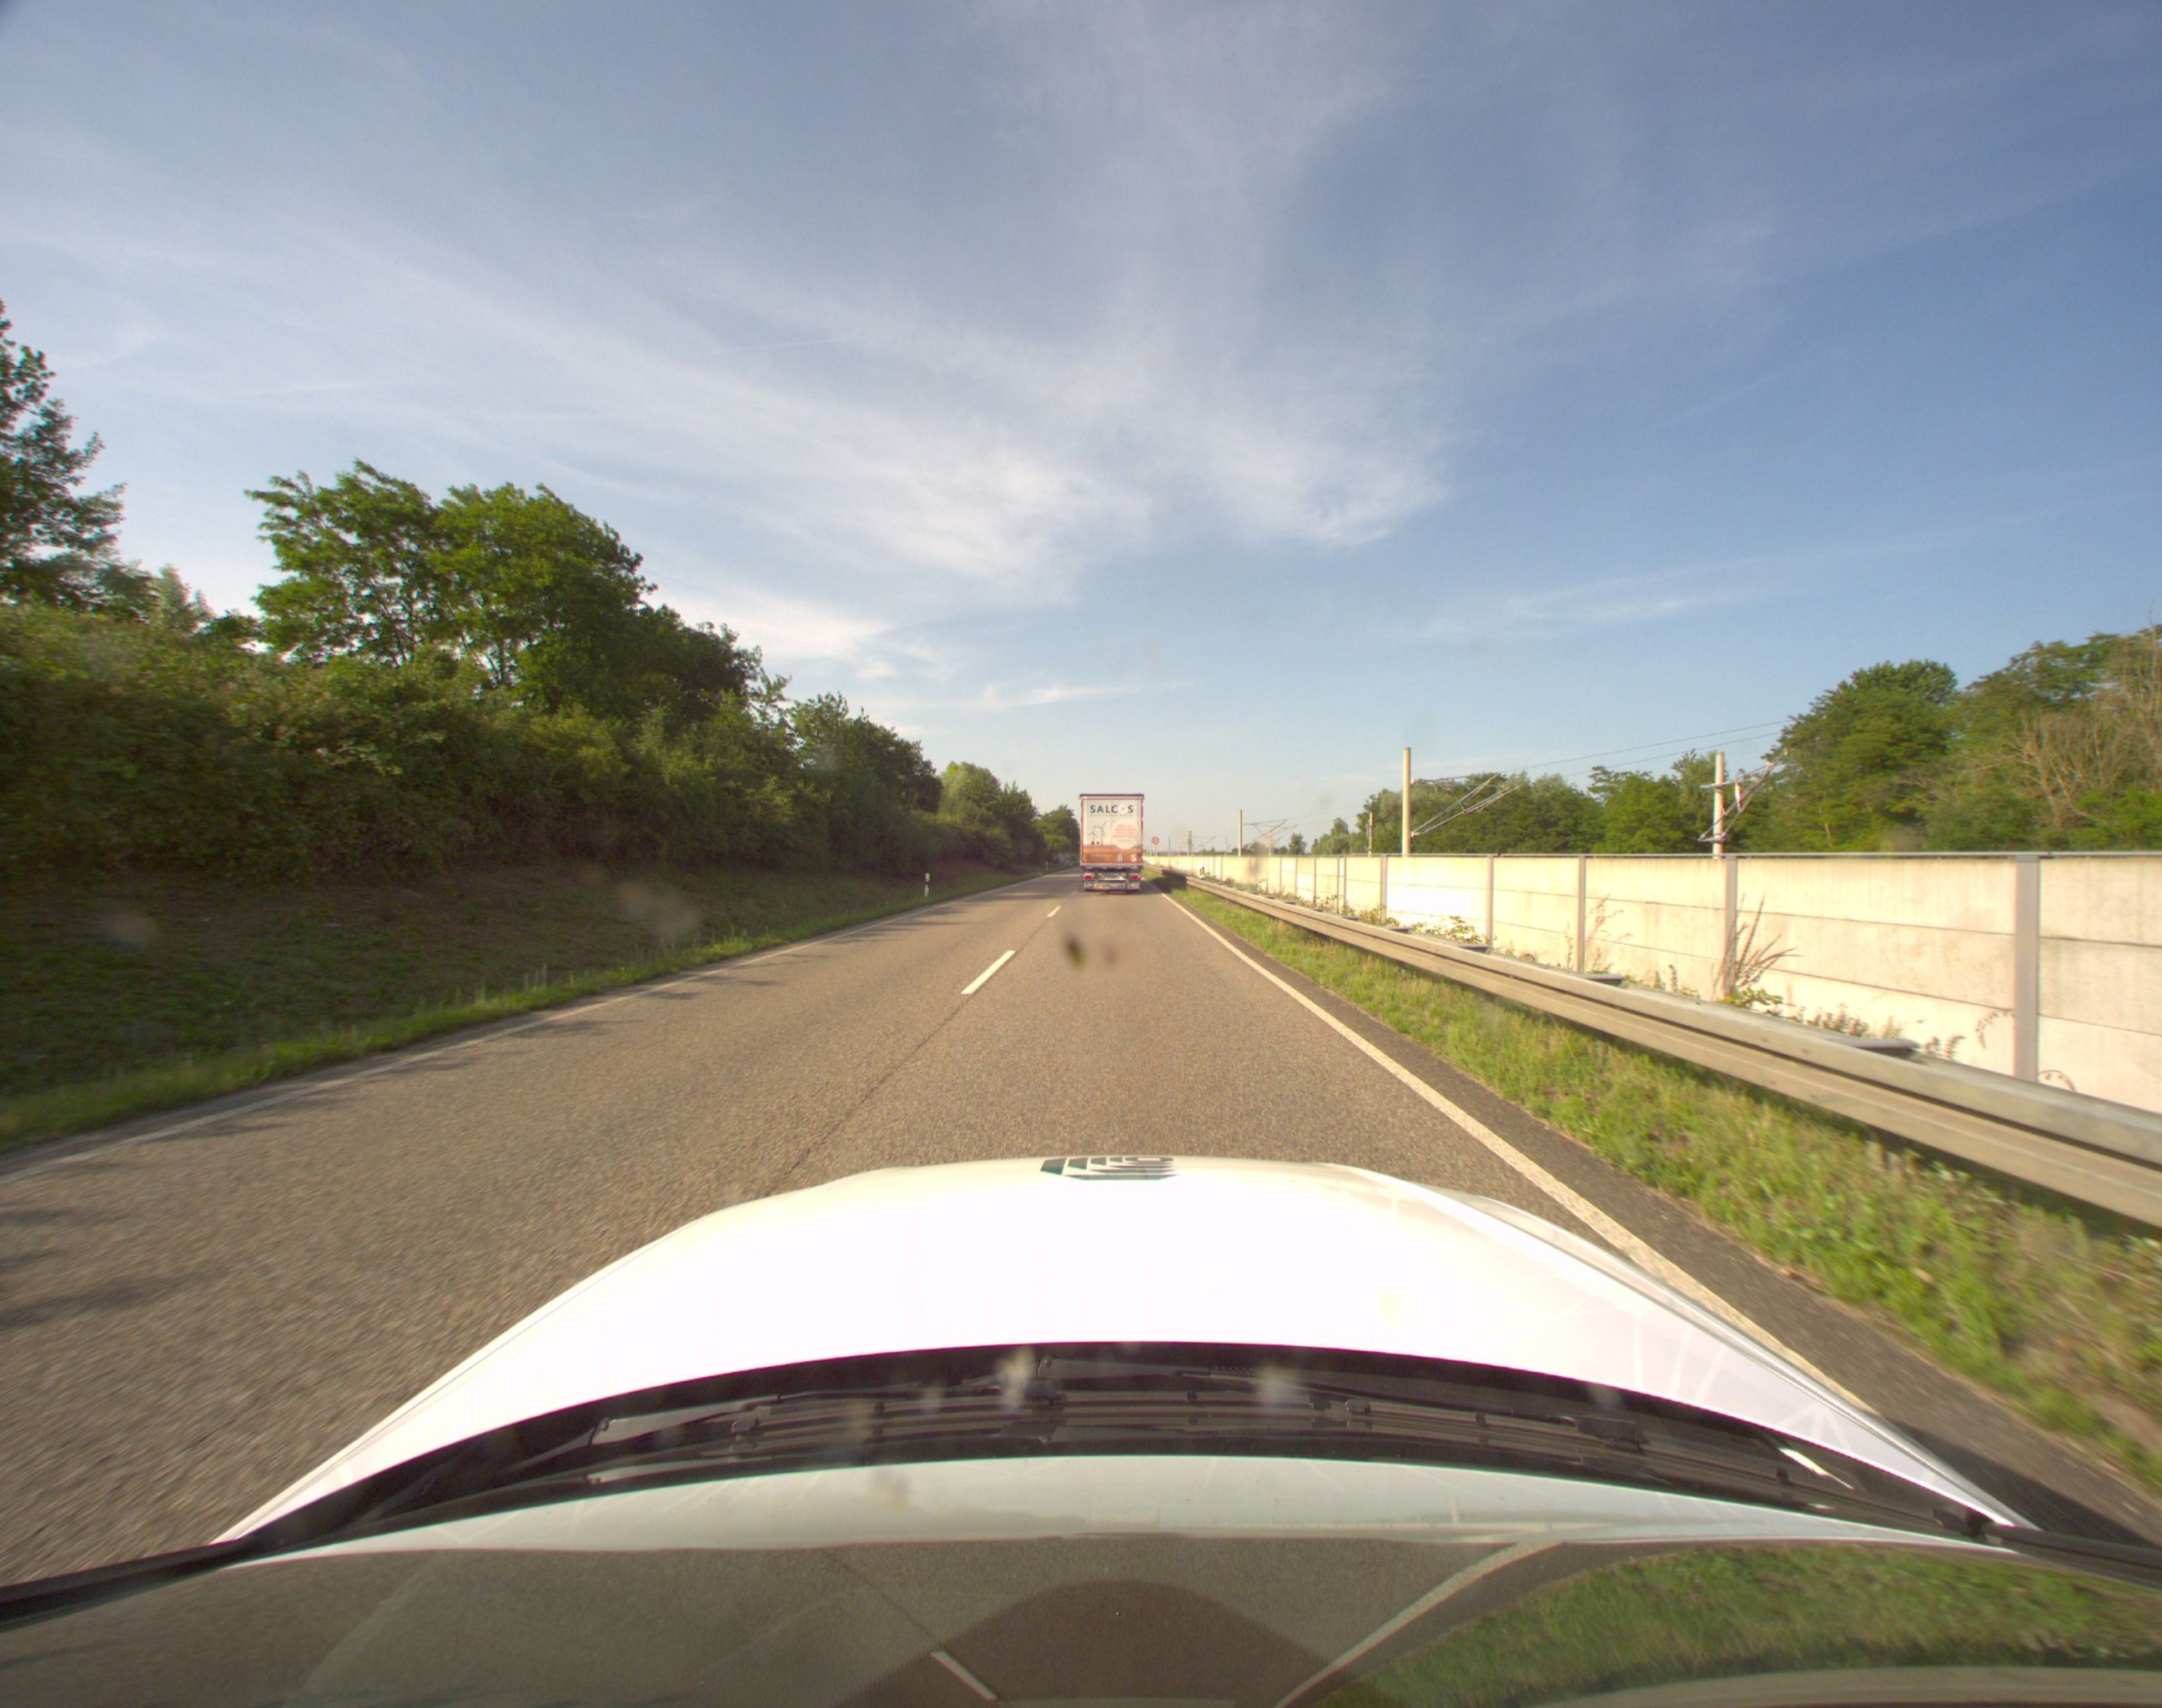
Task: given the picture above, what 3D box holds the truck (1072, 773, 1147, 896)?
[{"bbox_3d":[1.265,-0.755,38.674,3.022,4.920,11.686,0,0,1],"label":"truck"}]
